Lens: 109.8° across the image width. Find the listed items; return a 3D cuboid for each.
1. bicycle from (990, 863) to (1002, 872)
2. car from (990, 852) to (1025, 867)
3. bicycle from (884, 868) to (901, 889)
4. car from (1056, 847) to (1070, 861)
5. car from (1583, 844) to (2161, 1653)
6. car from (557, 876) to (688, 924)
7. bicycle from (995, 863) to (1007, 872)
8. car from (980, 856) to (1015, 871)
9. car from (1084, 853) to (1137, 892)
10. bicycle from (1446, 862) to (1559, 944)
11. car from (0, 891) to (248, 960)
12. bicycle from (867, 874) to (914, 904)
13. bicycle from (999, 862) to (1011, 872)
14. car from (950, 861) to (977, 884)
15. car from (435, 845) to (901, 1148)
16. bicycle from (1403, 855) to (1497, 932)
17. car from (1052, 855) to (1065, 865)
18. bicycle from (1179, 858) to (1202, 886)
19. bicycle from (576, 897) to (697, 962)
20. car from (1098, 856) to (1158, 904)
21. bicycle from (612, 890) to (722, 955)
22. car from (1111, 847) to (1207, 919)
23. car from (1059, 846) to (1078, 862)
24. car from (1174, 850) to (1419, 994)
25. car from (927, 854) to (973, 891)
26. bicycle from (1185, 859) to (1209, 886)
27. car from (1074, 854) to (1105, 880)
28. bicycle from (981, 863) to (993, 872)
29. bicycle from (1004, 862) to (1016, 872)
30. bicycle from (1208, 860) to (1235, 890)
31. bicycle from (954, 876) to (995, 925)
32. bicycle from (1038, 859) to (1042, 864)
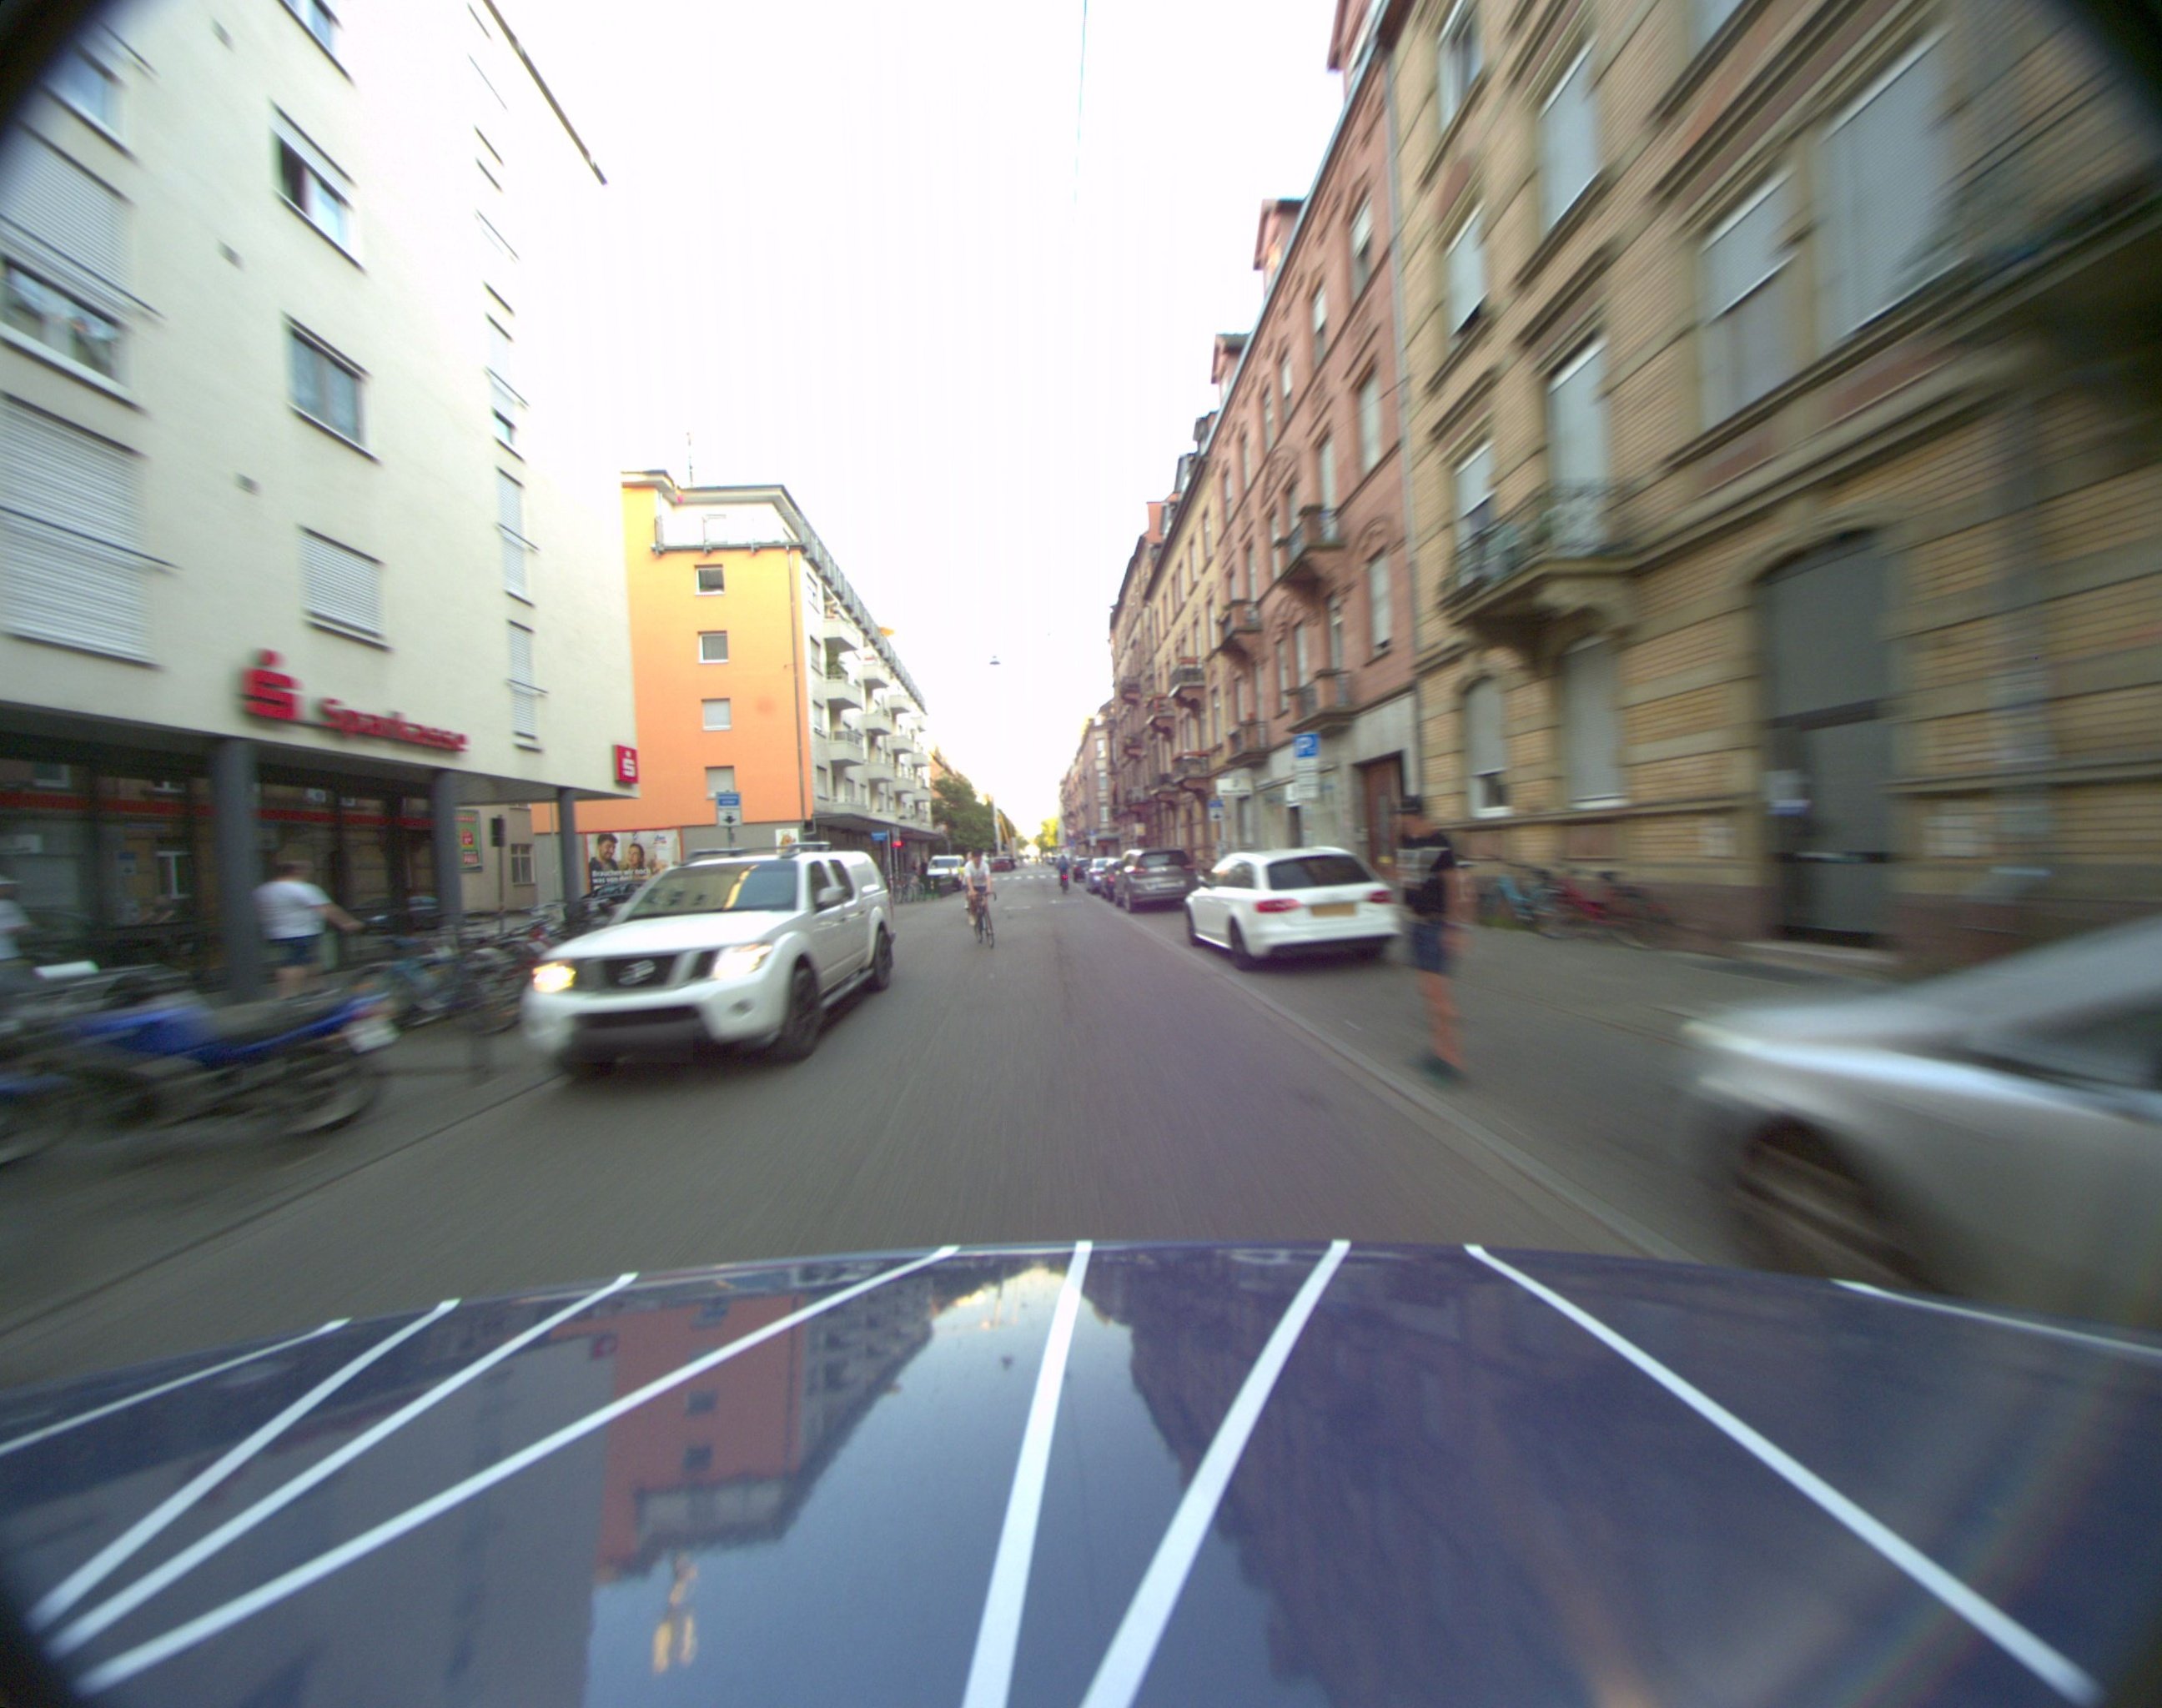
[{"bbox_3d":[-10.492,1.656,93.984,0.666,1.125,2.111,-1,0,-31],"label":"bicycle"},{"bbox_3d":[-12.096,0.948,125.693,5.153,2.182,2.333,-4,2,-28],"label":"car"},{"bbox_3d":[-11.316,1.467,45.546,0.913,1.189,1.709,-1,1,-17],"label":"bicycle"},{"bbox_3d":[-2.597,0.010,110.008,1.879,1.892,4.325,-4,0,-2],"label":"car"},{"bbox_3d":[2.907,0.753,0.958,1.721,1.449,3.999,-5,0,-2],"label":"car"},{"bbox_3d":[-16.806,1.669,27.983,3.677,1.467,1.705,-3,1,-2],"label":"car"},{"bbox_3d":[-9.938,1.653,94.360,0.666,1.125,2.111,-1,0,-31],"label":"bicycle"},{"bbox_3d":[-10.684,1.240,97.080,4.006,1.658,1.823,-4,2,-34],"label":"car"},{"bbox_3d":[1.176,0.712,32.384,1.727,1.412,4.580,-4,0,-3],"label":"car"},{"bbox_3d":[5.917,0.649,10.766,0.567,1.030,1.623,-4,0,-4],"label":"bicycle"},{"bbox_3d":[-23.346,1.703,18.504,4.243,1.424,1.793,-3,-2,2],"label":"car"},{"bbox_3d":[-7.631,1.387,30.437,1.939,1.128,0.658,0,1,34],"label":"bicycle"},{"bbox_3d":[-9.479,1.636,94.855,0.666,1.162,2.111,-1,0,-31],"label":"bicycle"},{"bbox_3d":[-8.146,1.231,52.885,1.597,1.492,3.422,-1,0,-5],"label":"car"},{"bbox_3d":[-3.293,0.909,7.584,1.916,1.842,5.268,-4,1,-4],"label":"car"},{"bbox_3d":[5.900,0.601,12.252,0.517,1.125,1.730,-4,0,-4],"label":"bicycle"},{"bbox_3d":[-4.287,1.161,144.390,2.141,1.811,4.539,-4,0,-3],"label":"car"},{"bbox_3d":[4.664,0.772,32.441,0.550,1.117,1.759,-6,0,-3],"label":"bicycle"},{"bbox_3d":[-7.830,1.328,13.441,1.727,1.048,0.653,-1,1,0],"label":"bicycle"},{"bbox_3d":[1.547,0.845,26.186,1.589,1.412,3.695,-4,0,-2],"label":"car"},{"bbox_3d":[-7.850,1.285,14.466,1.729,1.125,0.578,-1,1,-15],"label":"bicycle"},{"bbox_3d":[1.996,0.716,20.777,1.858,1.624,4.444,-4,0,-3],"label":"car"},{"bbox_3d":[-1.748,0.023,103.905,2.142,1.946,4.767,-4,0,-4],"label":"car"},{"bbox_3d":[2.577,0.743,10.348,1.763,1.403,4.507,-4,0,-3],"label":"car"},{"bbox_3d":[-7.441,1.021,43.610,1.964,1.962,5.001,-1,0,-3],"label":"car"},{"bbox_3d":[4.726,0.741,31.040,0.550,1.031,1.759,-6,0,-3],"label":"bicycle"},{"bbox_3d":[0.504,0.796,46.410,1.698,1.412,3.854,-4,0,0],"label":"car"},{"bbox_3d":[-11.576,1.646,93.278,0.666,1.158,2.111,-1,0,-31],"label":"bicycle"},{"bbox_3d":[-8.905,1.623,94.760,0.666,1.162,2.111,-1,0,-31],"label":"bicycle"},{"bbox_3d":[5.118,0.744,27.713,0.450,1.016,1.847,-7,0,-3],"label":"bicycle"},{"bbox_3d":[-2.758,1.156,19.523,0.794,1.133,2.341,-4,0,-12],"label":"bicycle"},{"bbox_3d":[-8.999,1.593,166.189,0.755,1.124,1.975,-3,0,-9],"label":"bicycle"}]
